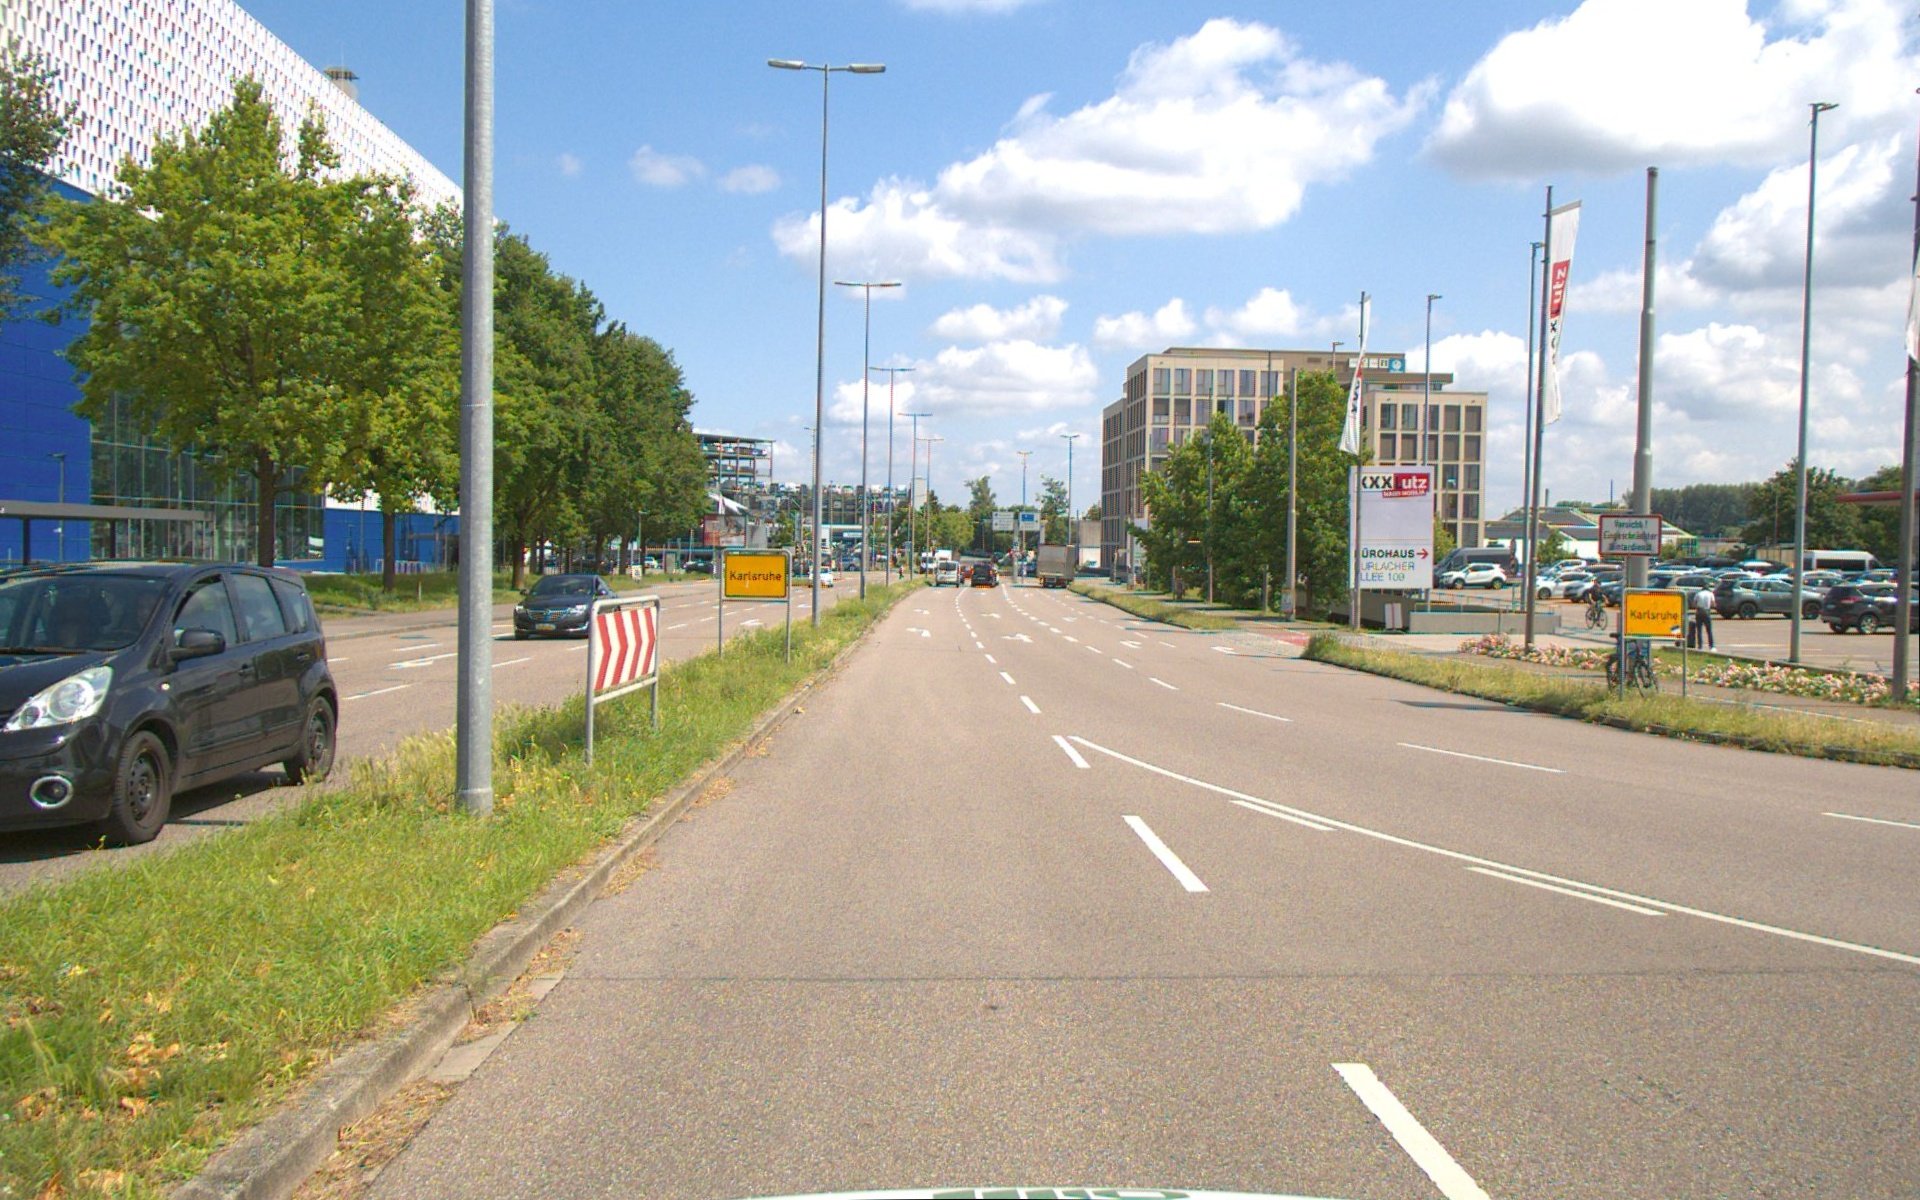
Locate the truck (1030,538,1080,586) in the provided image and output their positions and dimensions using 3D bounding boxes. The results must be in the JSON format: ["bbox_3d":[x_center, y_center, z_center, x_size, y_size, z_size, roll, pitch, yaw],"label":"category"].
[{"bbox_3d":[8.565,-3.432,147.720,3.063,4.008,8.867,2,2,12],"label":"truck"}]

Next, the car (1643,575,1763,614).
[{"bbox_3d":[32.192,-0.237,71.740,4.271,1.601,2.030,0,2,-3],"label":"car"}]

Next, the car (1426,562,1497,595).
[{"bbox_3d":[31.940,-1.382,105.339,3.905,2.048,2.000,0,1,-1],"label":"car"}]

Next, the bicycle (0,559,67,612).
[{"bbox_3d":[-22.734,-0.356,39.997,1.886,1.200,0.629,2,2,-2],"label":"bicycle"}]

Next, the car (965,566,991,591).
[{"bbox_3d":[1.496,-1.745,133.480,1.782,1.840,4.003,2,1,4],"label":"car"}]

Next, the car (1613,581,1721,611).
[{"bbox_3d":[32.820,-0.202,76.848,4.271,1.348,1.764,0,2,-3],"label":"car"}]

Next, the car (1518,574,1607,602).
[{"bbox_3d":[32.396,-0.660,89.030,4.101,1.413,1.892,0,2,-4],"label":"car"}]

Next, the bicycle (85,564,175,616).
[{"bbox_3d":[-20.654,-0.258,41.163,1.886,1.203,0.629,2,2,-2],"label":"bicycle"}]

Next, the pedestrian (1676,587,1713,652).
[{"bbox_3d":[20.947,0.549,47.161,0.853,1.813,0.783,3,2,29],"label":"pedestrian"}]

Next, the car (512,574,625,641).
[{"bbox_3d":[-9.033,0.139,38.456,1.630,1.446,4.518,-1,1,-2],"label":"car"}]

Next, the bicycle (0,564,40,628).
[{"bbox_3d":[-20.668,-0.106,35.131,1.886,1.294,0.629,2,2,-2],"label":"bicycle"}]

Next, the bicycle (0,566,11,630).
[{"bbox_3d":[-20.556,-0.073,33.830,1.886,1.294,0.629,2,2,-2],"label":"bicycle"}]

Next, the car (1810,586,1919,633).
[{"bbox_3d":[31.566,0.303,56.765,3.974,1.558,1.741,0,1,-5],"label":"car"}]

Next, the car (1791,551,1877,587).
[{"bbox_3d":[50.836,-1.812,96.259,3.906,1.985,2.000,2,2,-1],"label":"car"}]

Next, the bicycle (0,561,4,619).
[{"bbox_3d":[-22.647,-0.244,37.219,1.886,1.294,0.629,2,2,-2],"label":"bicycle"}]

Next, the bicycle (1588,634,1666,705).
[{"bbox_3d":[10.038,1.031,24.939,0.506,0.969,1.543,2,1,-1],"label":"bicycle"}]

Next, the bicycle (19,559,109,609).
[{"bbox_3d":[-22.718,-0.413,41.952,1.886,1.204,0.629,2,2,-2],"label":"bicycle"}]

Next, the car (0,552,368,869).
[{"bbox_3d":[-5.065,0.515,9.994,1.571,1.519,4.131,-1,1,-2],"label":"car"}]

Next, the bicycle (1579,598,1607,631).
[{"bbox_3d":[22.780,0.518,59.541,0.610,1.086,1.970,1,2,12],"label":"bicycle"}]

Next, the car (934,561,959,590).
[{"bbox_3d":[-1.068,-1.902,128.123,1.818,2.053,4.000,2,2,-1],"label":"car"}]

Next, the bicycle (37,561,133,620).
[{"bbox_3d":[-20.491,-0.230,38.748,1.886,1.294,0.629,2,2,-2],"label":"bicycle"}]

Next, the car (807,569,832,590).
[{"bbox_3d":[-10.129,-1.502,119.391,1.610,1.453,3.669,0,1,-1],"label":"car"}]

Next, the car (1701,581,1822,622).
[{"bbox_3d":[32.501,0.044,67.135,4.098,1.579,1.764,0,2,-3],"label":"car"}]

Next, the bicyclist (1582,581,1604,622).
[{"bbox_3d":[22.777,0.054,59.493,0.602,1.437,0.715,1,2,11],"label":"bicyclist"}]

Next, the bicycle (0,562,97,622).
[{"bbox_3d":[-20.619,-0.184,37.353,1.886,1.294,0.629,2,2,-2],"label":"bicycle"}]

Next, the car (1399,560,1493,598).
[{"bbox_3d":[31.900,-1.362,108.554,5.545,2.407,2.061,1,0,-3],"label":"car"}]

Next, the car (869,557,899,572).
[{"bbox_3d":[-10.466,-4.934,227.937,3.909,1.959,1.825,2,1,-5],"label":"car"}]

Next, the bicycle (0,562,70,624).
[{"bbox_3d":[-20.660,-0.158,36.280,1.886,1.294,0.629,2,2,-2],"label":"bicycle"}]

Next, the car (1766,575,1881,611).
[{"bbox_3d":[37.728,-0.316,72.322,4.154,1.489,1.760,1,0,-2],"label":"car"}]

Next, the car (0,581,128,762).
[{"bbox_3d":[-8.247,0.579,12.995,1.383,1.416,4.095,-1,1,-1],"label":"car"}]
